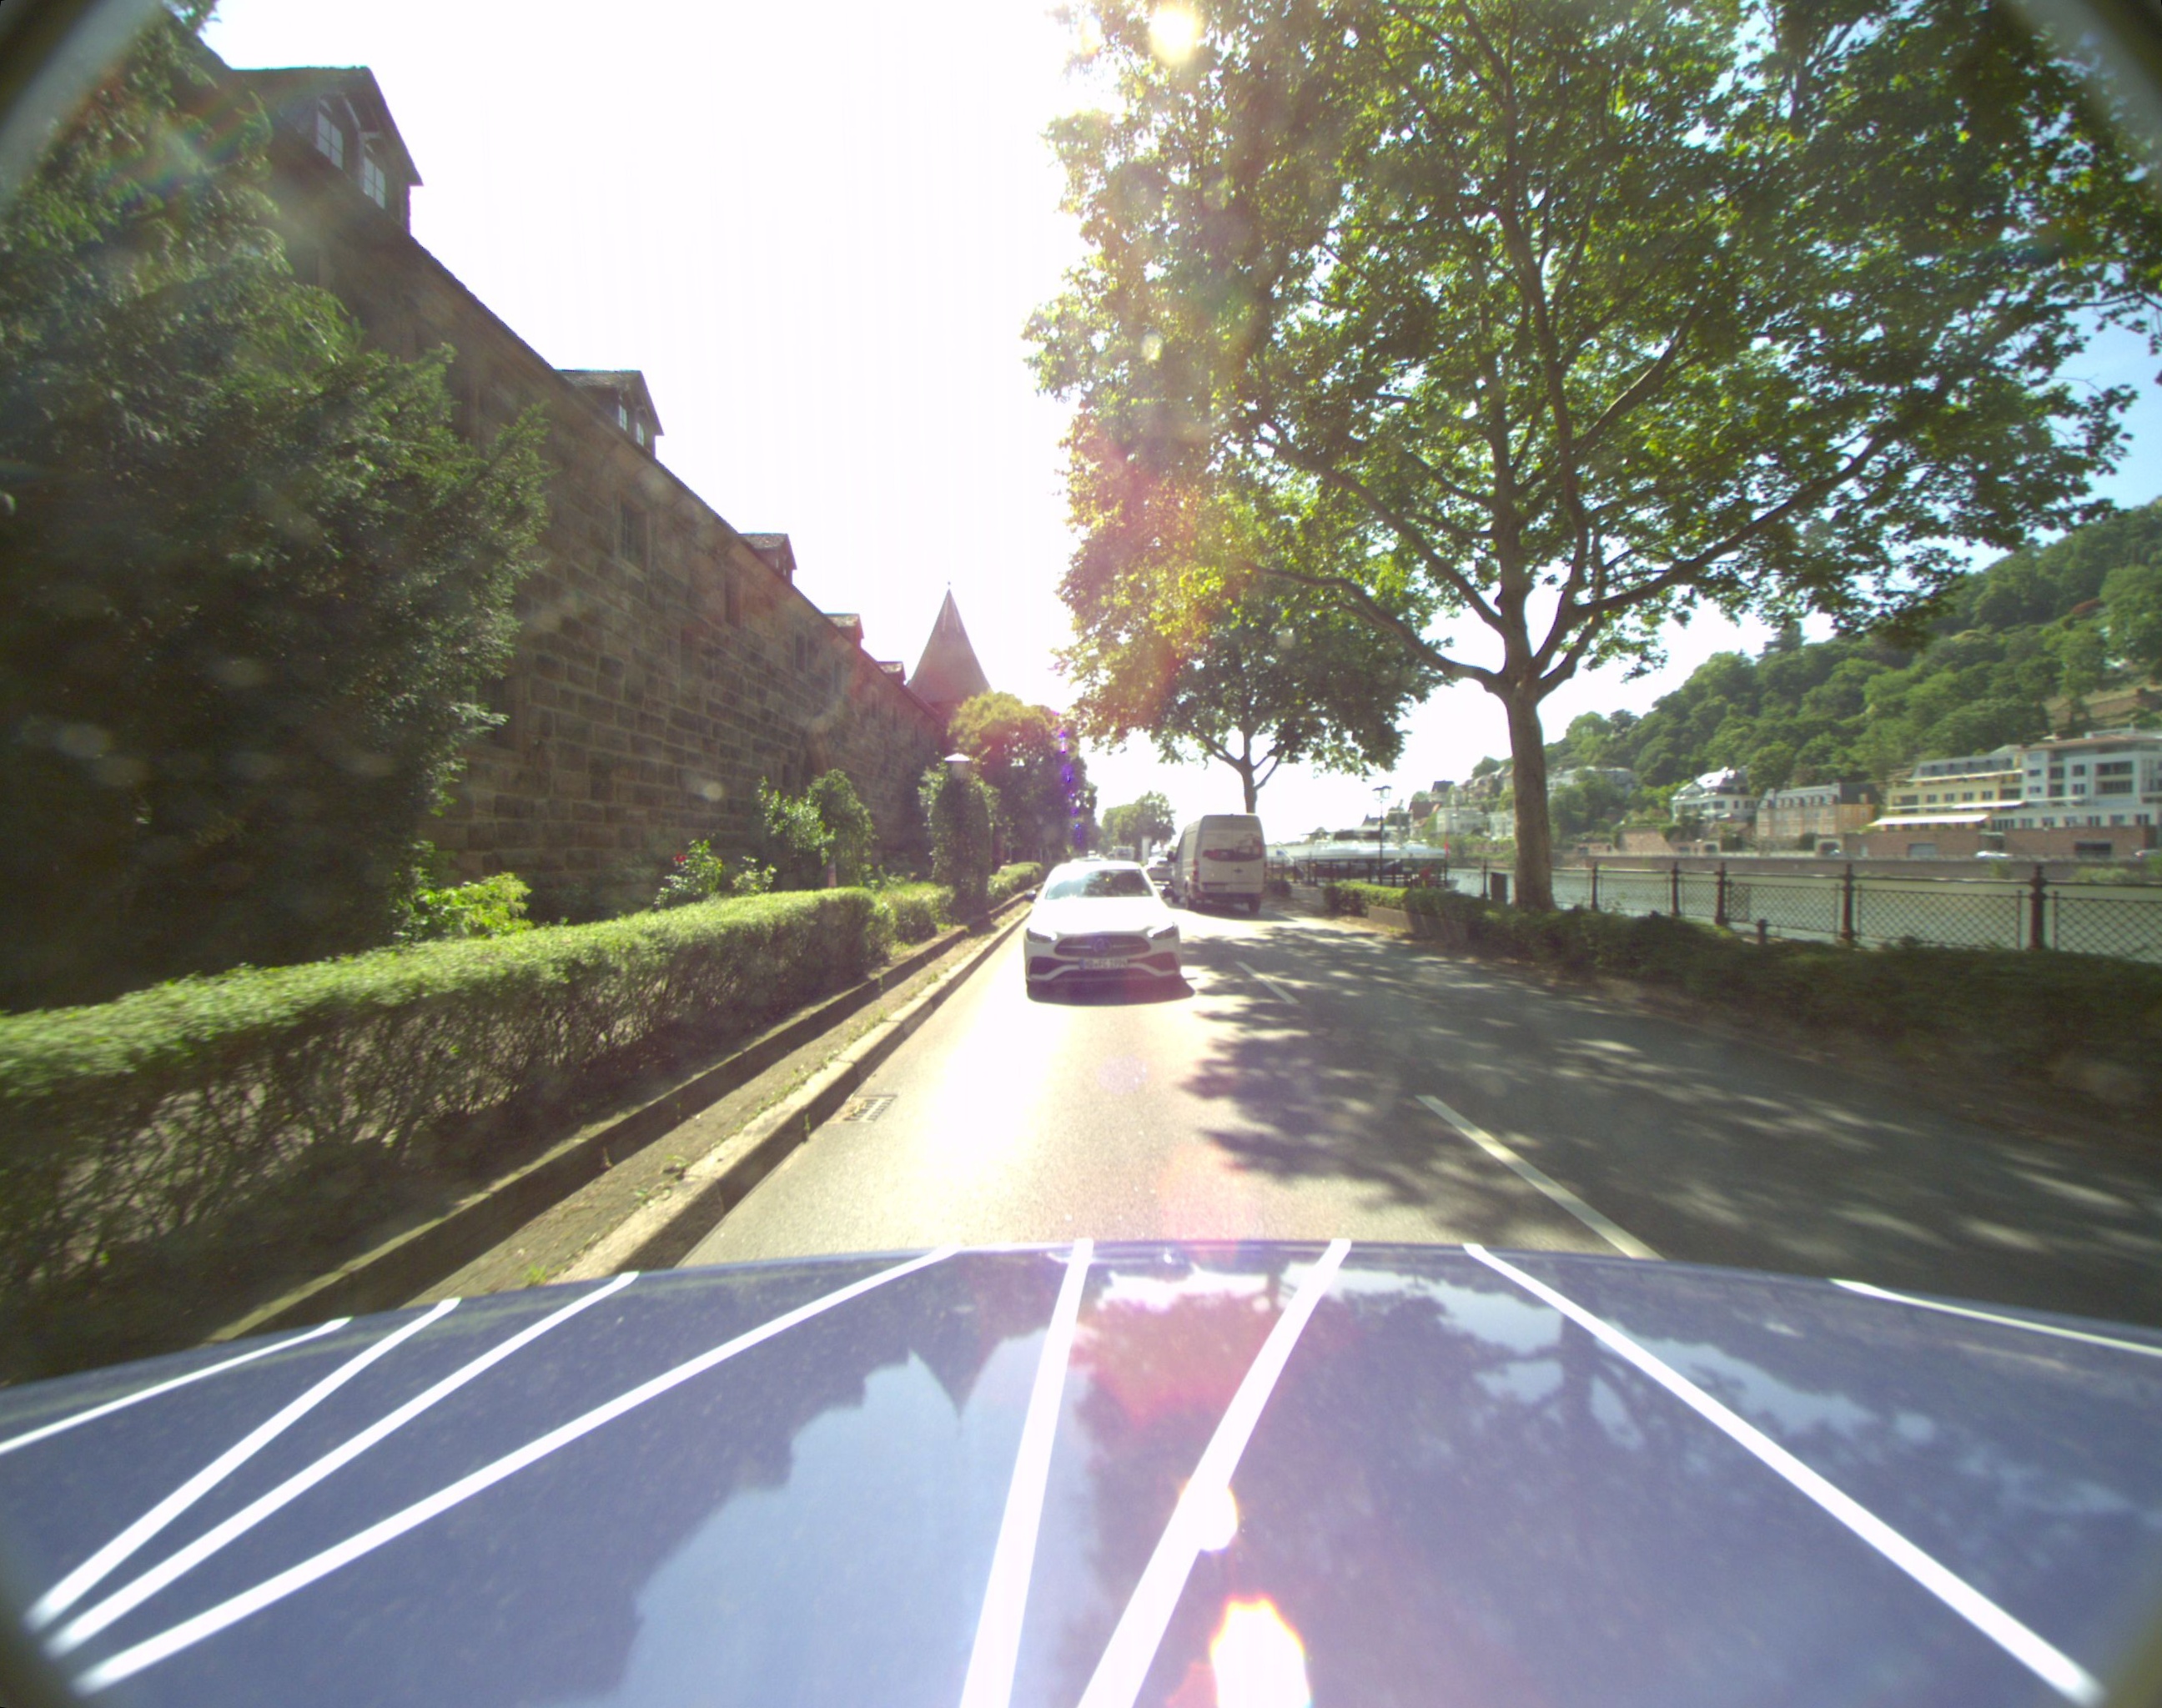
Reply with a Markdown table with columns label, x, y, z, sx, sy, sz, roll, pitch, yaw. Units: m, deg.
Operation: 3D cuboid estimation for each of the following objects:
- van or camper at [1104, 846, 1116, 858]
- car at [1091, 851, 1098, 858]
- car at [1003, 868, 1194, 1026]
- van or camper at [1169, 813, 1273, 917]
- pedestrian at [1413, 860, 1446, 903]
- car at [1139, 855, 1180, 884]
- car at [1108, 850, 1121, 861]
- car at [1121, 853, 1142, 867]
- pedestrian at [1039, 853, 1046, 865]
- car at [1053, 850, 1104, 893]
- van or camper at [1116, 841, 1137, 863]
| label | x | y | z | sx | sy | sz | roll | pitch | yaw |
| --- | --- | --- | --- | --- | --- | --- | --- | --- | --- |
| van or camper | 5.165 | -0.374 | 134.630 | 1.923 | 1.976 | 4.000 | 1 | 1 | 1 |
| car | 3.600 | 0.164 | 208.114 | 1.923 | 1.976 | 4.000 | 1 | 1 | 1 |
| car | 0.205 | 0.945 | 9.588 | 1.829 | 1.418 | 4.358 | -1 | 0 | 1 |
| van or camper | 3.848 | 0.262 | 22.010 | 1.965 | 2.552 | 5.840 | 2 | 1 | 1 |
| pedestrian | 10.854 | 0.845 | 23.695 | 0.704 | 1.300 | 0.656 | 1 | 1 | 2 |
| car | 4.237 | 0.823 | 41.654 | 1.774 | 1.448 | 4.534 | 1 | 0 | 0 |
| car | 5.104 | 0.277 | 117.089 | 1.826 | 1.603 | 3.960 | 1 | 0 | 1 |
| car | 5.269 | 0.589 | 79.392 | 1.703 | 1.204 | 3.484 | 5 | 1 | -2 |
| pedestrian | -3.963 | 0.526 | 78.926 | 0.632 | 1.186 | 0.747 | -2 | 1 | 3 |
| car | -0.036 | 0.642 | 29.586 | 1.854 | 1.543 | 3.848 | 1 | 0 | 1 |
| van or camper | 5.716 | -0.260 | 96.711 | 2.328 | 2.647 | 6.264 | 1 | 1 | 1 |
